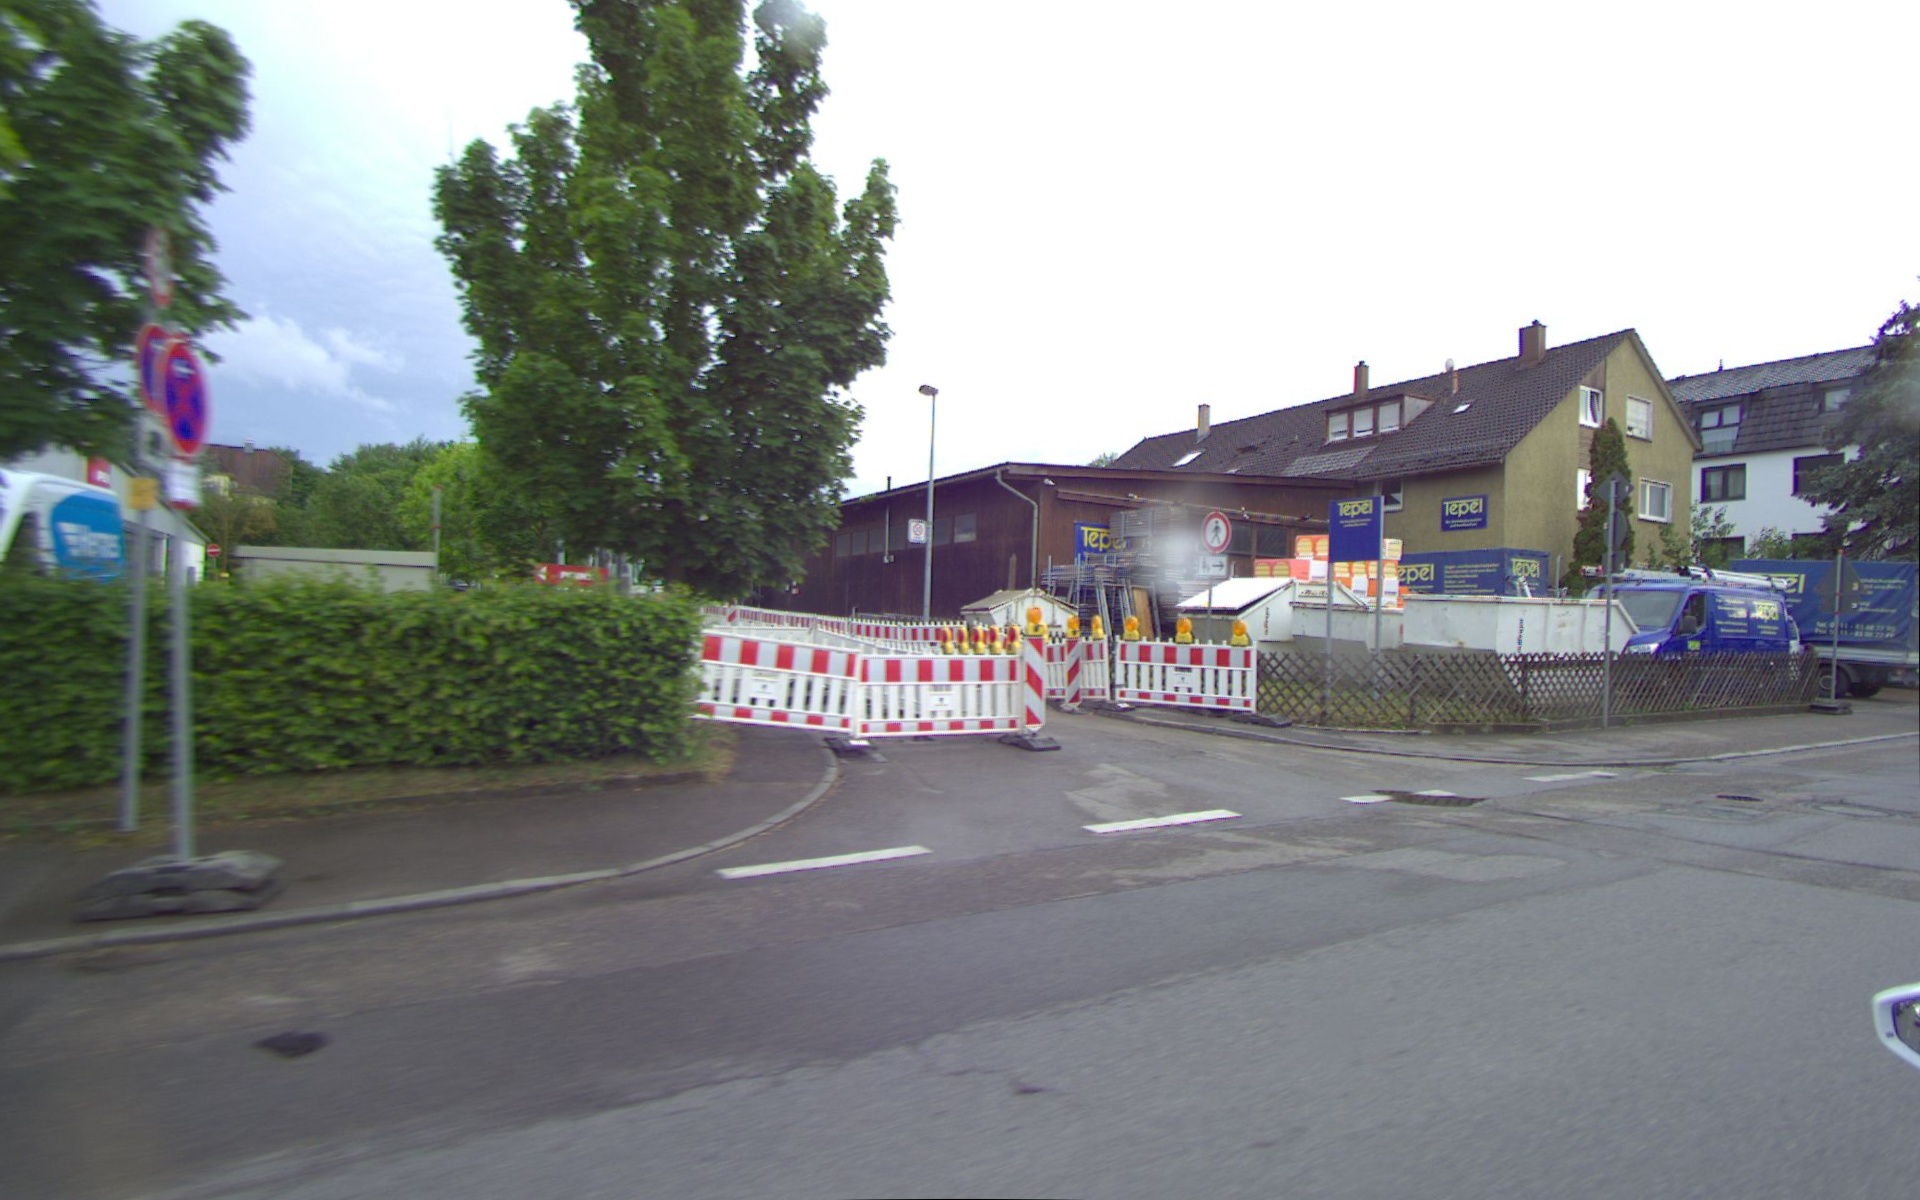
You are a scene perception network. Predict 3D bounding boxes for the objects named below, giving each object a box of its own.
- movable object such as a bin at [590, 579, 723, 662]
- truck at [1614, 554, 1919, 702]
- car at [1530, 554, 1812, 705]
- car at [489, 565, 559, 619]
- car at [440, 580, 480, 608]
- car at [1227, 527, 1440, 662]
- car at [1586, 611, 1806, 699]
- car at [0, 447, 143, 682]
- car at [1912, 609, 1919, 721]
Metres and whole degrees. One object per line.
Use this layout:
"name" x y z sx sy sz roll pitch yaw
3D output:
"movable object such as a bin" -7.189 0.436 23.606 1.981 1.783 3.398 2 0 -36
"truck" 19.678 0.582 24.381 2.419 3.114 5.886 2 0 -28
"car" 14.073 0.589 19.773 6.127 2.601 2.066 2 0 -29
"car" -20.099 -0.383 46.170 1.955 2.269 5.192 2 0 -34
"car" -34.742 -0.442 69.755 1.955 1.797 4.196 2 0 -34
"car" 9.350 -0.062 25.062 5.180 3.053 2.066 2 0 -29
"car" 16.952 1.202 23.308 1.756 1.773 3.694 2 0 -28
"car" -10.109 -0.368 10.175 2.038 2.040 4.287 2 0 -29
"car" 19.594 1.197 18.233 5.303 1.973 1.984 1 0 -31
